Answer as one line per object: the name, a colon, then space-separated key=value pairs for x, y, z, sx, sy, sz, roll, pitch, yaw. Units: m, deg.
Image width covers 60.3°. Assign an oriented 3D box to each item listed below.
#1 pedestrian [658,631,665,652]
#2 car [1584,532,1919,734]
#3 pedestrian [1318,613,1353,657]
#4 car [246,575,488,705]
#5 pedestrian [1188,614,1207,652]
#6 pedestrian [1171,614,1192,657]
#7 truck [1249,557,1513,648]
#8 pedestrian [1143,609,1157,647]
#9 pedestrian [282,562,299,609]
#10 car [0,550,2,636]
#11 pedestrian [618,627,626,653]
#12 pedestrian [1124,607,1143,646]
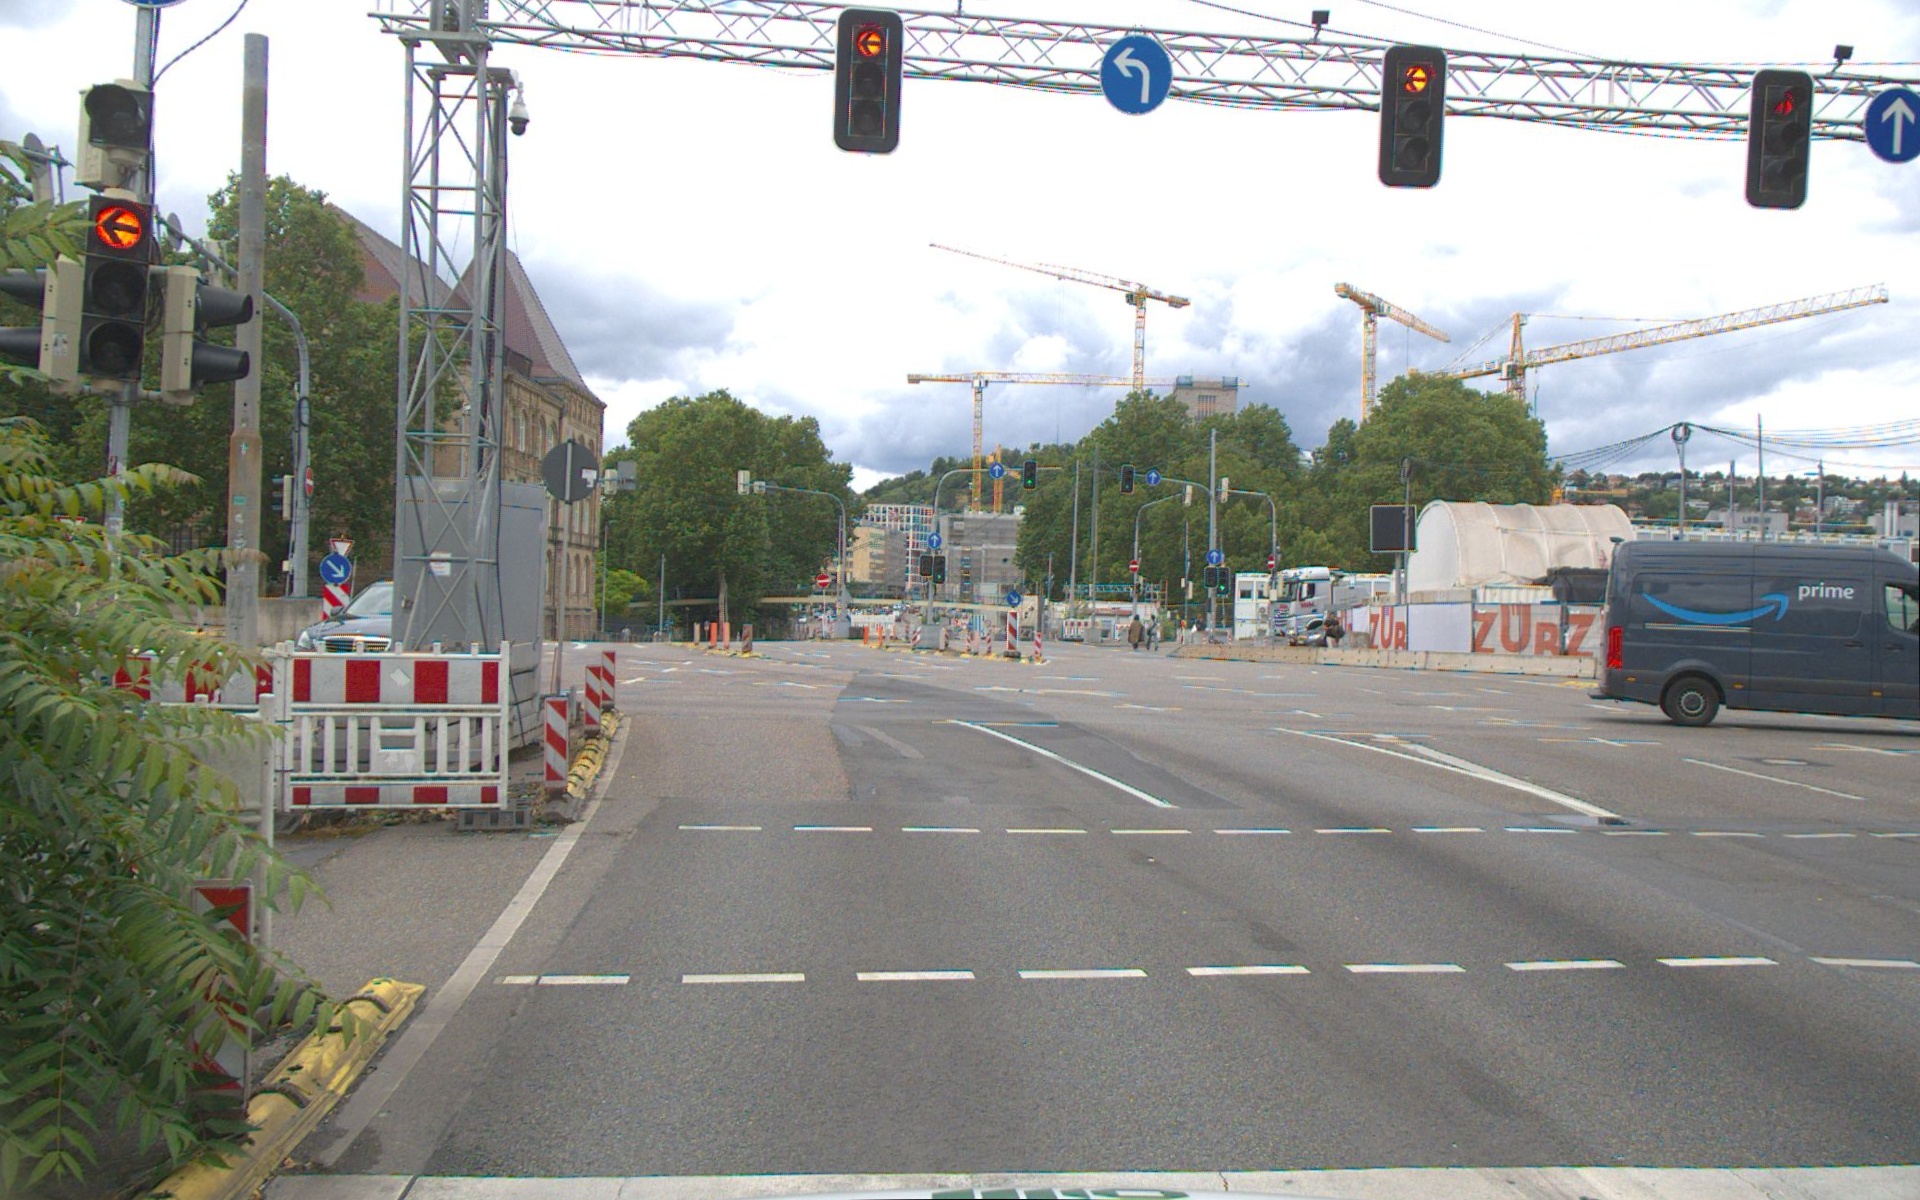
pedestrian: x=-28.490 y=3.973 z=158.021 sx=0.513 sy=2.049 sz=0.566 roll=1 pitch=0 yaw=-1
car: x=12.040 y=0.439 z=23.507 sx=5.871 sy=2.639 sz=2.064 roll=2 pitch=0 yaw=21
pedestrian: x=12.493 y=1.160 z=55.045 sx=0.783 sy=1.402 sz=0.901 roll=2 pitch=0 yaw=-16
car: x=-7.665 y=0.472 z=21.859 sx=1.666 sy=1.497 sz=4.628 roll=1 pitch=0 yaw=-3
pedestrian: x=10.965 y=1.535 z=76.403 sx=0.609 sy=1.718 sz=0.710 roll=2 pitch=0 yaw=28
pedestrian: x=9.069 y=1.429 z=67.649 sx=0.714 sy=1.718 sz=0.677 roll=2 pitch=0 yaw=-1
truck: x=21.001 y=0.162 z=82.316 sx=12.837 sy=4.111 sz=3.927 roll=1 pitch=0 yaw=-21
pedestrian: x=8.644 y=1.280 z=75.185 sx=0.555 sy=1.718 sz=0.471 roll=2 pitch=0 yaw=-1
pedestrian: x=-29.494 y=-0.621 z=72.836 sx=0.523 sy=2.049 sz=0.421 roll=2 pitch=0 yaw=-44
car: x=-19.701 y=-0.131 z=29.344 sx=4.239 sy=1.705 sz=1.993 roll=2 pitch=0 yaw=-14
pedestrian: x=-27.574 y=3.279 z=135.010 sx=0.513 sy=2.049 sz=0.566 roll=1 pitch=0 yaw=-1
pedestrian: x=7.878 y=1.193 z=75.165 sx=0.714 sy=1.718 sz=0.677 roll=2 pitch=0 yaw=-1
